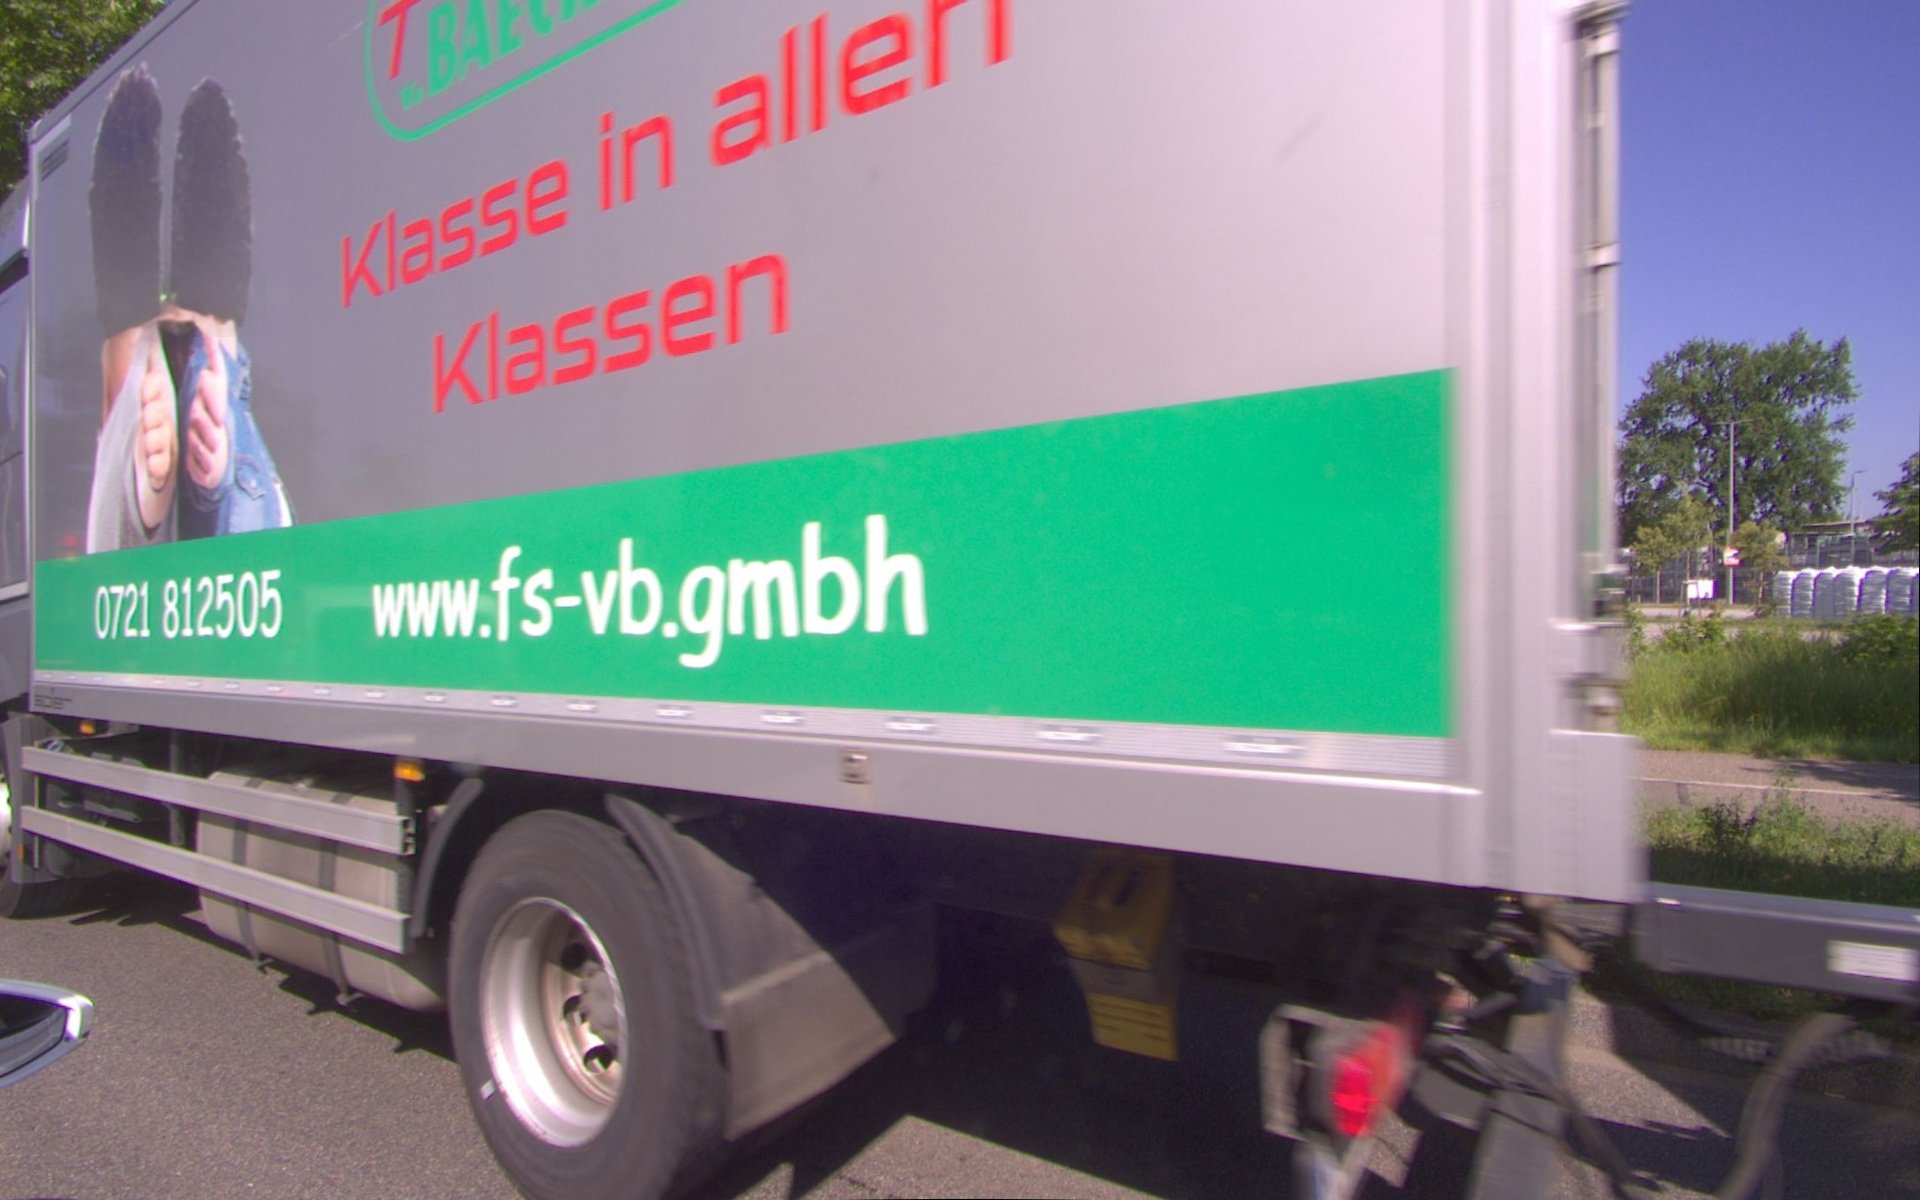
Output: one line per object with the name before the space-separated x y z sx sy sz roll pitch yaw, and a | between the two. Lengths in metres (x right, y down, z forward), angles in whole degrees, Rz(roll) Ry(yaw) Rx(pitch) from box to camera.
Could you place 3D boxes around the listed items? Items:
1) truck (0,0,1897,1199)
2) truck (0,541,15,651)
truck | -1.946 -0.479 4.484 8.606 3.940 2.722 -1 -1 35
truck | -33.091 -0.244 30.653 2.867 3.689 7.183 0 -2 -14
